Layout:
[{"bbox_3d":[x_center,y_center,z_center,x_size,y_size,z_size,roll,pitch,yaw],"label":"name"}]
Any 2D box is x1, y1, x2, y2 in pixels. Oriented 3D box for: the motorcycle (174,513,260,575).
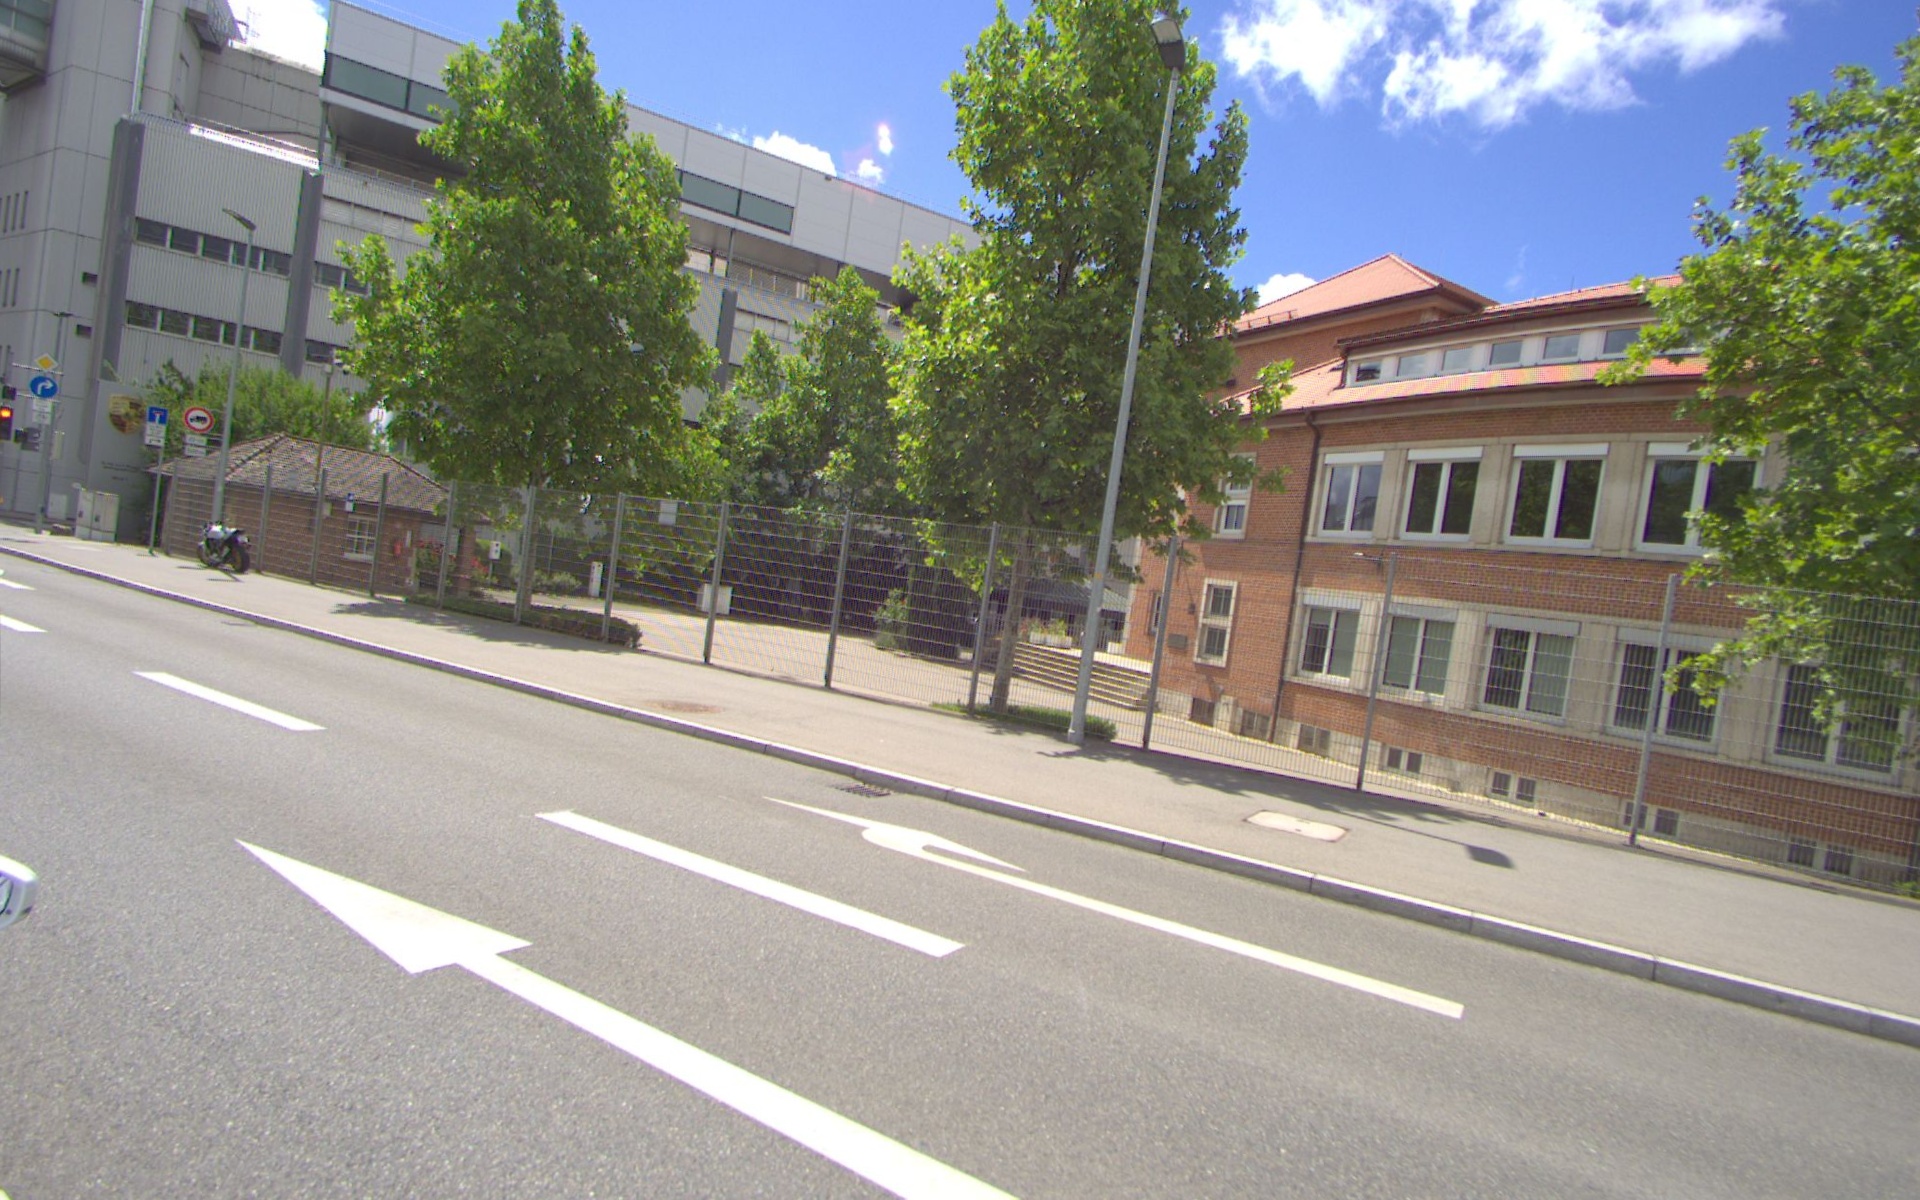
[{"bbox_3d":[-17.116,-1.295,23.156,2.110,1.173,0.693,7,2,28],"label":"motorcycle"}]
